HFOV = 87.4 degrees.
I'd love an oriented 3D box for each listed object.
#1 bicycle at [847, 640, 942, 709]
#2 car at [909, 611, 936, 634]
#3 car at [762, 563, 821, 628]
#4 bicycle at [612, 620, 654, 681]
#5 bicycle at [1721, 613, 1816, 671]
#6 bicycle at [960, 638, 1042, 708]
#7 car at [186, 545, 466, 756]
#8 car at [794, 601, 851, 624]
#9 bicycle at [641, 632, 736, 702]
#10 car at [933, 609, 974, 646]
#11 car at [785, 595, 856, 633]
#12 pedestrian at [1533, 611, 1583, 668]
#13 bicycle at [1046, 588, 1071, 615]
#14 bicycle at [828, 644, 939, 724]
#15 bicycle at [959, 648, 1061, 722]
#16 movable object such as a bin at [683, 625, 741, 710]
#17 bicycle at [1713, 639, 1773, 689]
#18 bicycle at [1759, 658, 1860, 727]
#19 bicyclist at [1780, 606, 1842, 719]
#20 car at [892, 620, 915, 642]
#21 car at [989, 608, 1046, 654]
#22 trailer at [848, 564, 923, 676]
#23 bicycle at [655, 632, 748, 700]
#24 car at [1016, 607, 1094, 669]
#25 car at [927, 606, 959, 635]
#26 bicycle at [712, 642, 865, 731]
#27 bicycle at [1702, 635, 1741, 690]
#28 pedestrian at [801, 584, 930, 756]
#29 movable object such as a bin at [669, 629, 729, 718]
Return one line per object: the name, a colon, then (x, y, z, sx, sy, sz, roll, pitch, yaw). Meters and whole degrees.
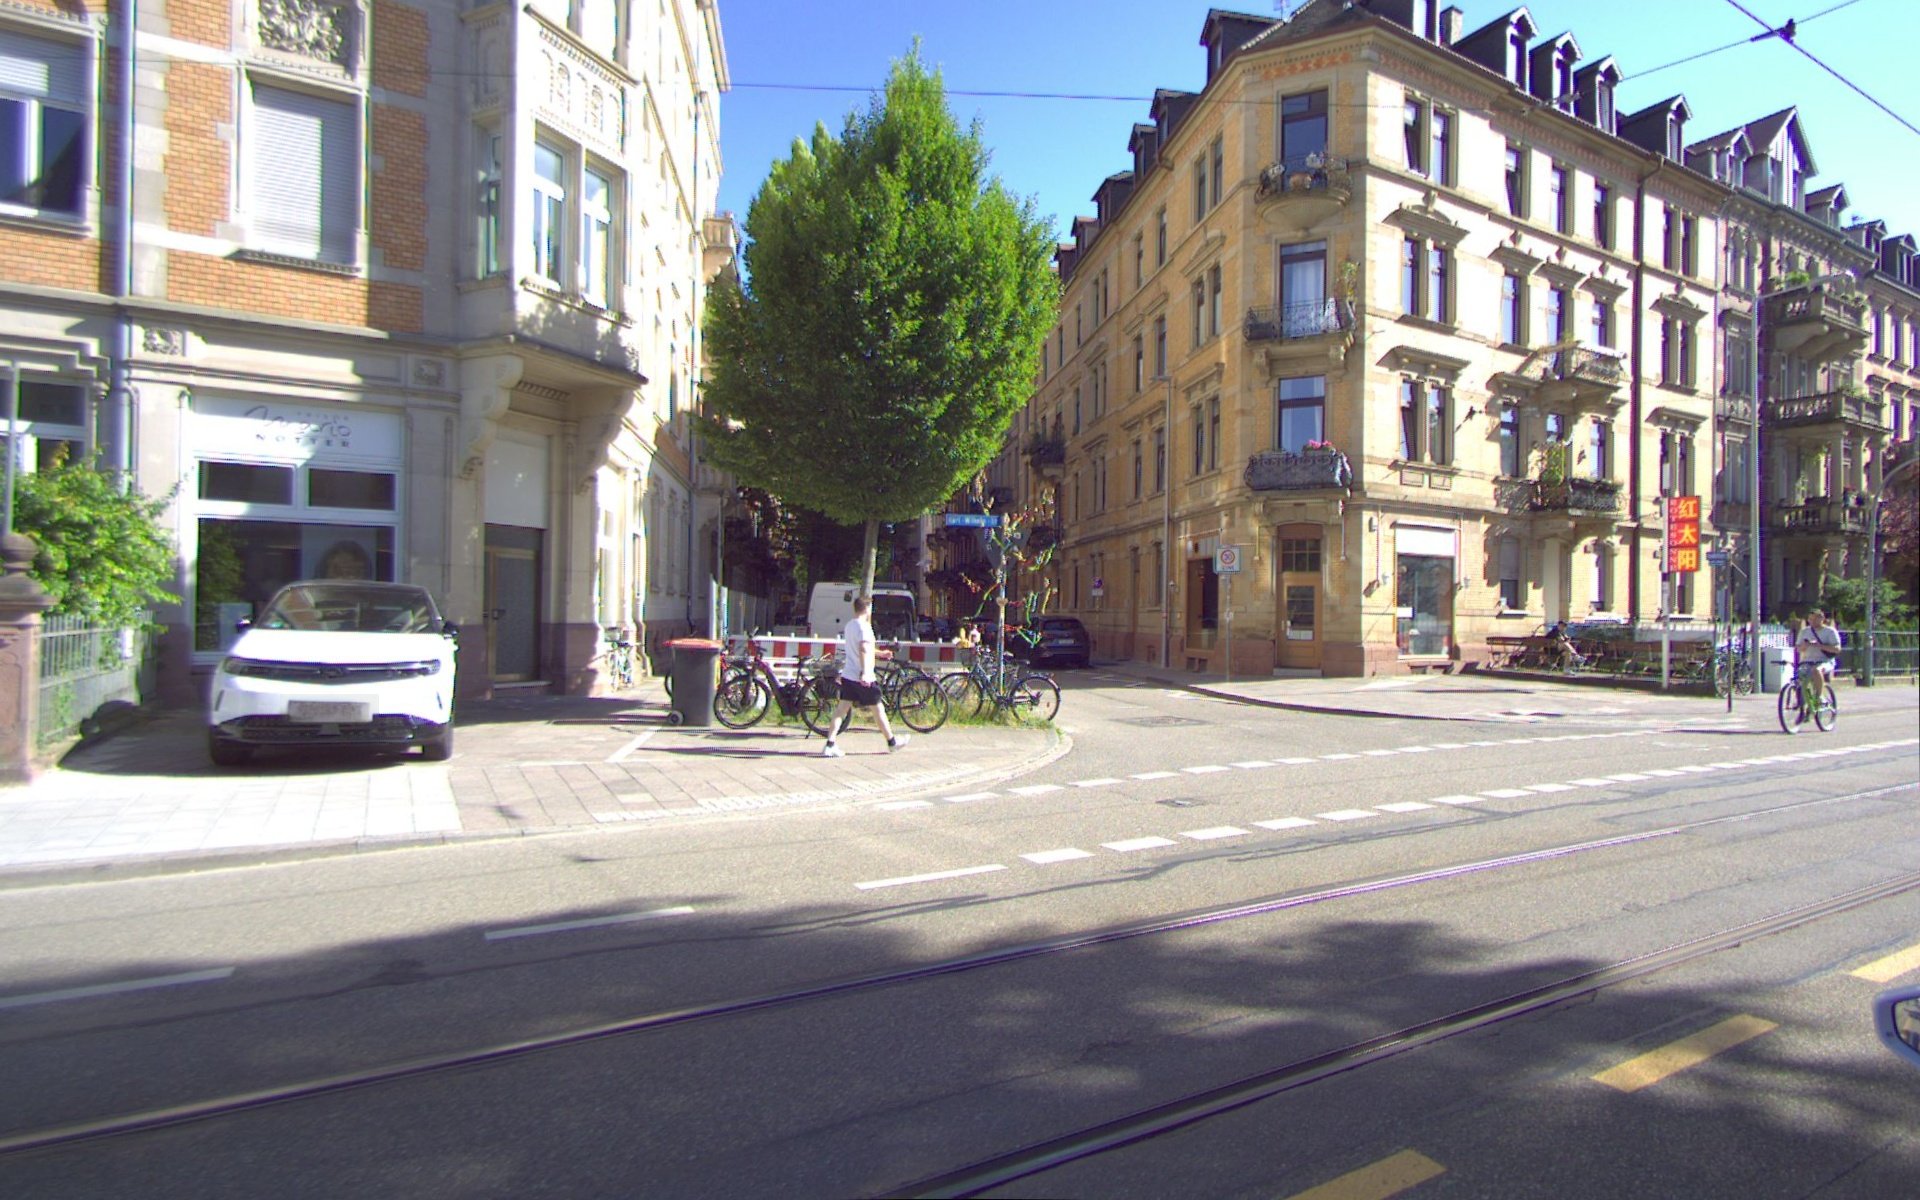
bicycle: (-0.966, 1.099, 14.977, 1.268, 0.926, 0.621, 3, -1, 8)
car: (-2.765, 1.677, 73.774, 1.631, 1.513, 3.997, 2, -2, -6)
car: (-7.280, -0.230, 43.741, 1.962, 2.536, 4.632, 4, 1, -5)
bicycle: (-6.195, 0.939, 19.081, 0.398, 1.051, 1.602, 0, 1, -5)
bicycle: (20.440, 1.037, 25.420, 0.609, 1.338, 1.748, 1, 1, -39)
bicycle: (0.689, 1.145, 16.142, 0.569, 0.989, 1.986, 2, 0, 25)
car: (-6.223, 0.367, 10.350, 1.941, 1.665, 4.429, 2, 1, -27)
car: (-9.751, 0.880, 71.129, 3.807, 1.515, 1.578, 2, -3, -13)
bicycle: (-4.042, 0.982, 14.917, 1.513, 0.926, 0.247, 2, -1, 25)
car: (-0.359, 1.348, 49.452, 1.570, 1.750, 3.532, 0, -2, -8)
car: (-10.810, 1.101, 77.747, 5.290, 2.736, 1.579, 1, -2, -10)
pedestrian: (14.804, 0.978, 24.867, 0.570, 1.370, 0.897, 1, -2, -28)
bicycle: (4.370, 0.050, 44.679, 0.545, 1.141, 2.130, 2, 0, -8)
bicycle: (-0.992, 1.072, 13.118, 1.270, 0.926, 0.620, 2, -1, 25)
bicycle: (0.708, 1.183, 14.253, 1.270, 0.926, 0.620, 2, -1, 25)
movable object such as a bin: (-3.364, 0.906, 13.597, 0.704, 1.085, 0.576, 2, 1, -17)
bicycle: (16.884, 1.365, 21.654, 1.848, 1.014, 0.333, 1, 1, -31)
bicycle: (12.661, 1.349, 14.945, 2.177, 0.938, 0.458, 1, -2, -31)
bicyclist: (12.693, 0.919, 14.977, 0.736, 1.640, 0.462, 1, -2, -30)
car: (-5.245, 2.874, 92.824, 1.805, 1.773, 3.586, -1, 1, -7)
car: (2.228, 1.225, 39.686, 1.570, 1.750, 3.532, 0, -2, -8)
trailer: (-2.012, 0.536, 26.392, 1.794, 2.730, 2.926, 2, -2, -7)
bicycle: (-3.915, 0.983, 15.167, 1.513, 0.926, 0.247, 2, -1, 25)
car: (3.063, 1.193, 33.011, 1.805, 1.773, 3.586, -1, 1, -7)
car: (-1.070, 1.286, 61.864, 1.570, 1.750, 3.532, 0, -2, -8)
bicycle: (-2.097, 1.021, 12.238, 1.754, 0.926, 0.620, 2, -1, 25)
bicycle: (16.377, 1.341, 21.602, 0.799, 1.141, 0.369, 1, 1, -30)
pedestrian: (-1.029, 0.730, 10.926, 1.071, 1.746, 0.824, 2, 1, -33)
movable object such as a bin: (-3.344, 0.930, 12.860, 0.704, 1.085, 0.576, 2, 1, -17)
